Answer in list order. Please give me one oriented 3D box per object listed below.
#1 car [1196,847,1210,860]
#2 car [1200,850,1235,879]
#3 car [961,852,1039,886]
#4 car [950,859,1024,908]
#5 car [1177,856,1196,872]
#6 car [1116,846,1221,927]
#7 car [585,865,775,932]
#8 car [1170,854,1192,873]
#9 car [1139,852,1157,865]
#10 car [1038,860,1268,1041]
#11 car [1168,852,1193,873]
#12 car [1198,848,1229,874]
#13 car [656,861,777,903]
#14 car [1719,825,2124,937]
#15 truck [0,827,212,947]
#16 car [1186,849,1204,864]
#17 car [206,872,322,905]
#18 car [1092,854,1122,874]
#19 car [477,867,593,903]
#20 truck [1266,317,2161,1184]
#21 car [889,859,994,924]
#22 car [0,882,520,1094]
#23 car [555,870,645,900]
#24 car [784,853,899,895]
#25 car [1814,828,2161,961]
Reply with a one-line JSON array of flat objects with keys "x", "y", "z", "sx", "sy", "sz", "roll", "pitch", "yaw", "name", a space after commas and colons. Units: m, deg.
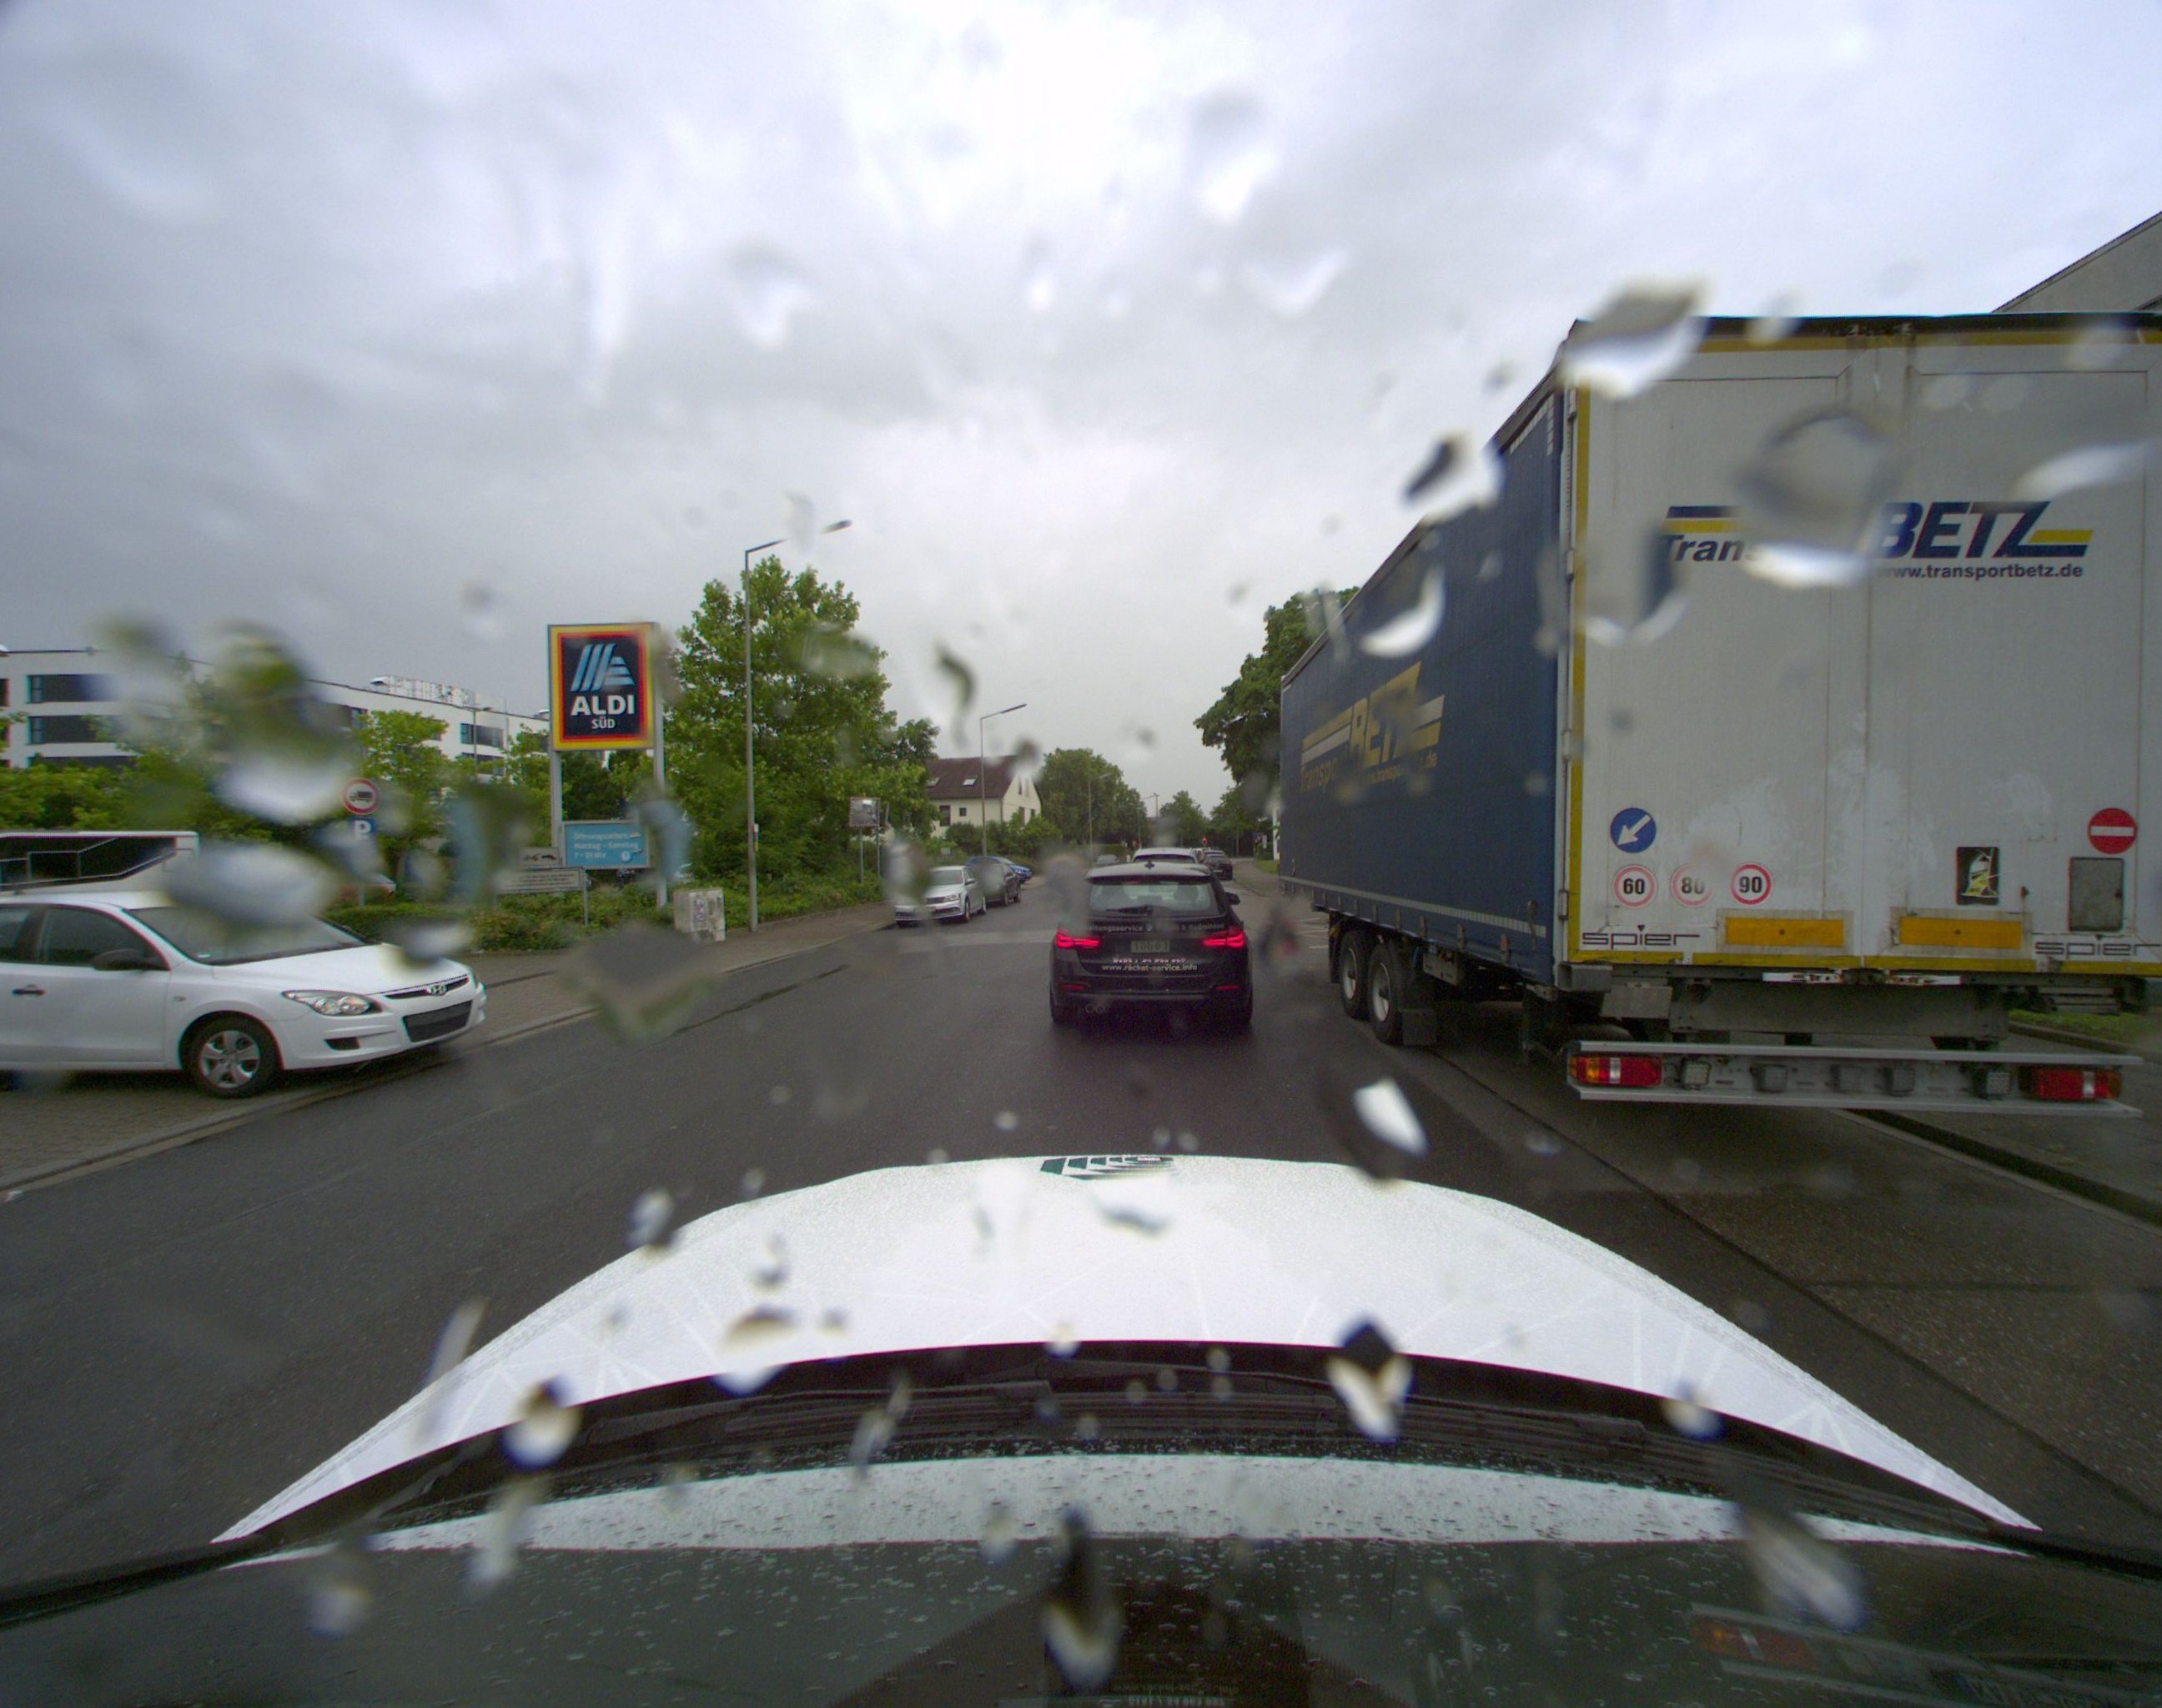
[{"x": 15.881, "y": -0.092, "z": 106.035, "sx": 1.794, "sy": 1.586, "sz": 4.009, "roll": -1, "pitch": 0, "yaw": 8, "name": "car"}, {"x": 7.888, "y": 0.596, "z": 47.459, "sx": 1.795, "sy": 1.586, "sz": 4.007, "roll": -1, "pitch": 0, "yaw": 6, "name": "car"}, {"x": -4.465, "y": 0.807, "z": 45.053, "sx": 3.793, "sy": 1.594, "sz": 1.720, "roll": -4, "pitch": 0, "yaw": 19, "name": "car"}, {"x": -3.063, "y": 0.941, "z": 27.211, "sx": 1.698, "sy": 1.367, "sz": 3.842, "roll": -4, "pitch": 0, "yaw": 4, "name": "car"}, {"x": 10.573, "y": 0.961, "z": 81.181, "sx": 1.794, "sy": 1.586, "sz": 4.009, "roll": -1, "pitch": 0, "yaw": 8, "name": "car"}, {"x": 1.807, "y": 0.651, "z": 17.973, "sx": 1.799, "sy": 1.586, "sz": 3.998, "roll": -1, "pitch": 0, "yaw": -1, "name": "car"}, {"x": -9.291, "y": 1.007, "z": 19.063, "sx": 3.556, "sy": 1.460, "sz": 1.713, "roll": 0, "pitch": 0, "yaw": 2, "name": "car"}, {"x": 8.818, "y": 0.808, "z": 71.858, "sx": 1.794, "sy": 1.586, "sz": 4.009, "roll": -1, "pitch": 0, "yaw": 8, "name": "car"}, {"x": 7.934, "y": 0.470, "z": 96.127, "sx": 1.694, "sy": 1.367, "sz": 3.850, "roll": -4, "pitch": 0, "yaw": 11, "name": "car"}, {"x": 0.525, "y": 0.771, "z": 8.394, "sx": 1.799, "sy": 1.395, "sz": 3.998, "roll": -1, "pitch": 0, "yaw": -1, "name": "car"}, {"x": 7.870, "y": 0.634, "z": 64.075, "sx": 1.794, "sy": 1.586, "sz": 4.009, "roll": -1, "pitch": 0, "yaw": 8, "name": "car"}, {"x": 8.569, "y": 0.456, "z": 53.011, "sx": 1.795, "sy": 1.586, "sz": 4.007, "roll": -1, "pitch": 0, "yaw": 6, "name": "car"}, {"x": -14.616, "y": 1.086, "z": 32.803, "sx": 3.972, "sy": 1.540, "sz": 1.911, "roll": -1, "pitch": 0, "yaw": 1, "name": "car"}, {"x": 12.397, "y": 0.314, "z": 12.448, "sx": 4.098, "sy": 1.415, "sz": 1.701, "roll": 1, "pitch": 3, "yaw": 41, "name": "car"}, {"x": -24.972, "y": 0.754, "z": 19.237, "sx": 1.987, "sy": 2.657, "sz": 6.396, "roll": -1, "pitch": 0, "yaw": 0, "name": "truck"}, {"x": 12.382, "y": 0.254, "z": 88.333, "sx": 1.794, "sy": 1.586, "sz": 4.009, "roll": -1, "pitch": 0, "yaw": 8, "name": "car"}, {"x": -42.045, "y": 1.746, "z": 41.981, "sx": 3.971, "sy": 1.529, "sz": 2.001, "roll": -1, "pitch": 0, "yaw": 2, "name": "car"}, {"x": 2.064, "y": 0.726, "z": 63.656, "sx": 1.694, "sy": 1.367, "sz": 3.850, "roll": -4, "pitch": 0, "yaw": 11, "name": "car"}, {"x": -25.102, "y": 1.407, "z": 37.570, "sx": 3.971, "sy": 1.499, "sz": 2.001, "roll": -1, "pitch": 0, "yaw": 2, "name": "car"}, {"x": 3.687, "y": -0.453, "z": 7.312, "sx": 2.729, "sy": 3.611, "sz": 7.758, "roll": 1, "pitch": 0, "yaw": 4, "name": "truck"}, {"x": -3.540, "y": 0.900, "z": 21.518, "sx": 1.699, "sy": 1.367, "sz": 4.604, "roll": -4, "pitch": 0, "yaw": 2, "name": "car"}, {"x": -7.415, "y": 1.016, "z": 6.810, "sx": 4.180, "sy": 1.460, "sz": 1.711, "roll": -1, "pitch": 0, "yaw": -3, "name": "car"}, {"x": -27.602, "y": 1.769, "z": 46.839, "sx": 3.971, "sy": 1.529, "sz": 2.001, "roll": -1, "pitch": 0, "yaw": 2, "name": "car"}, {"x": -9.470, "y": 0.767, "z": 32.432, "sx": 3.972, "sy": 1.540, "sz": 1.911, "roll": -1, "pitch": 0, "yaw": 1, "name": "car"}, {"x": 11.575, "y": 0.411, "z": 10.000, "sx": 3.733, "sy": 1.396, "sz": 1.738, "roll": 2, "pitch": 2, "yaw": 40, "name": "car"}]
